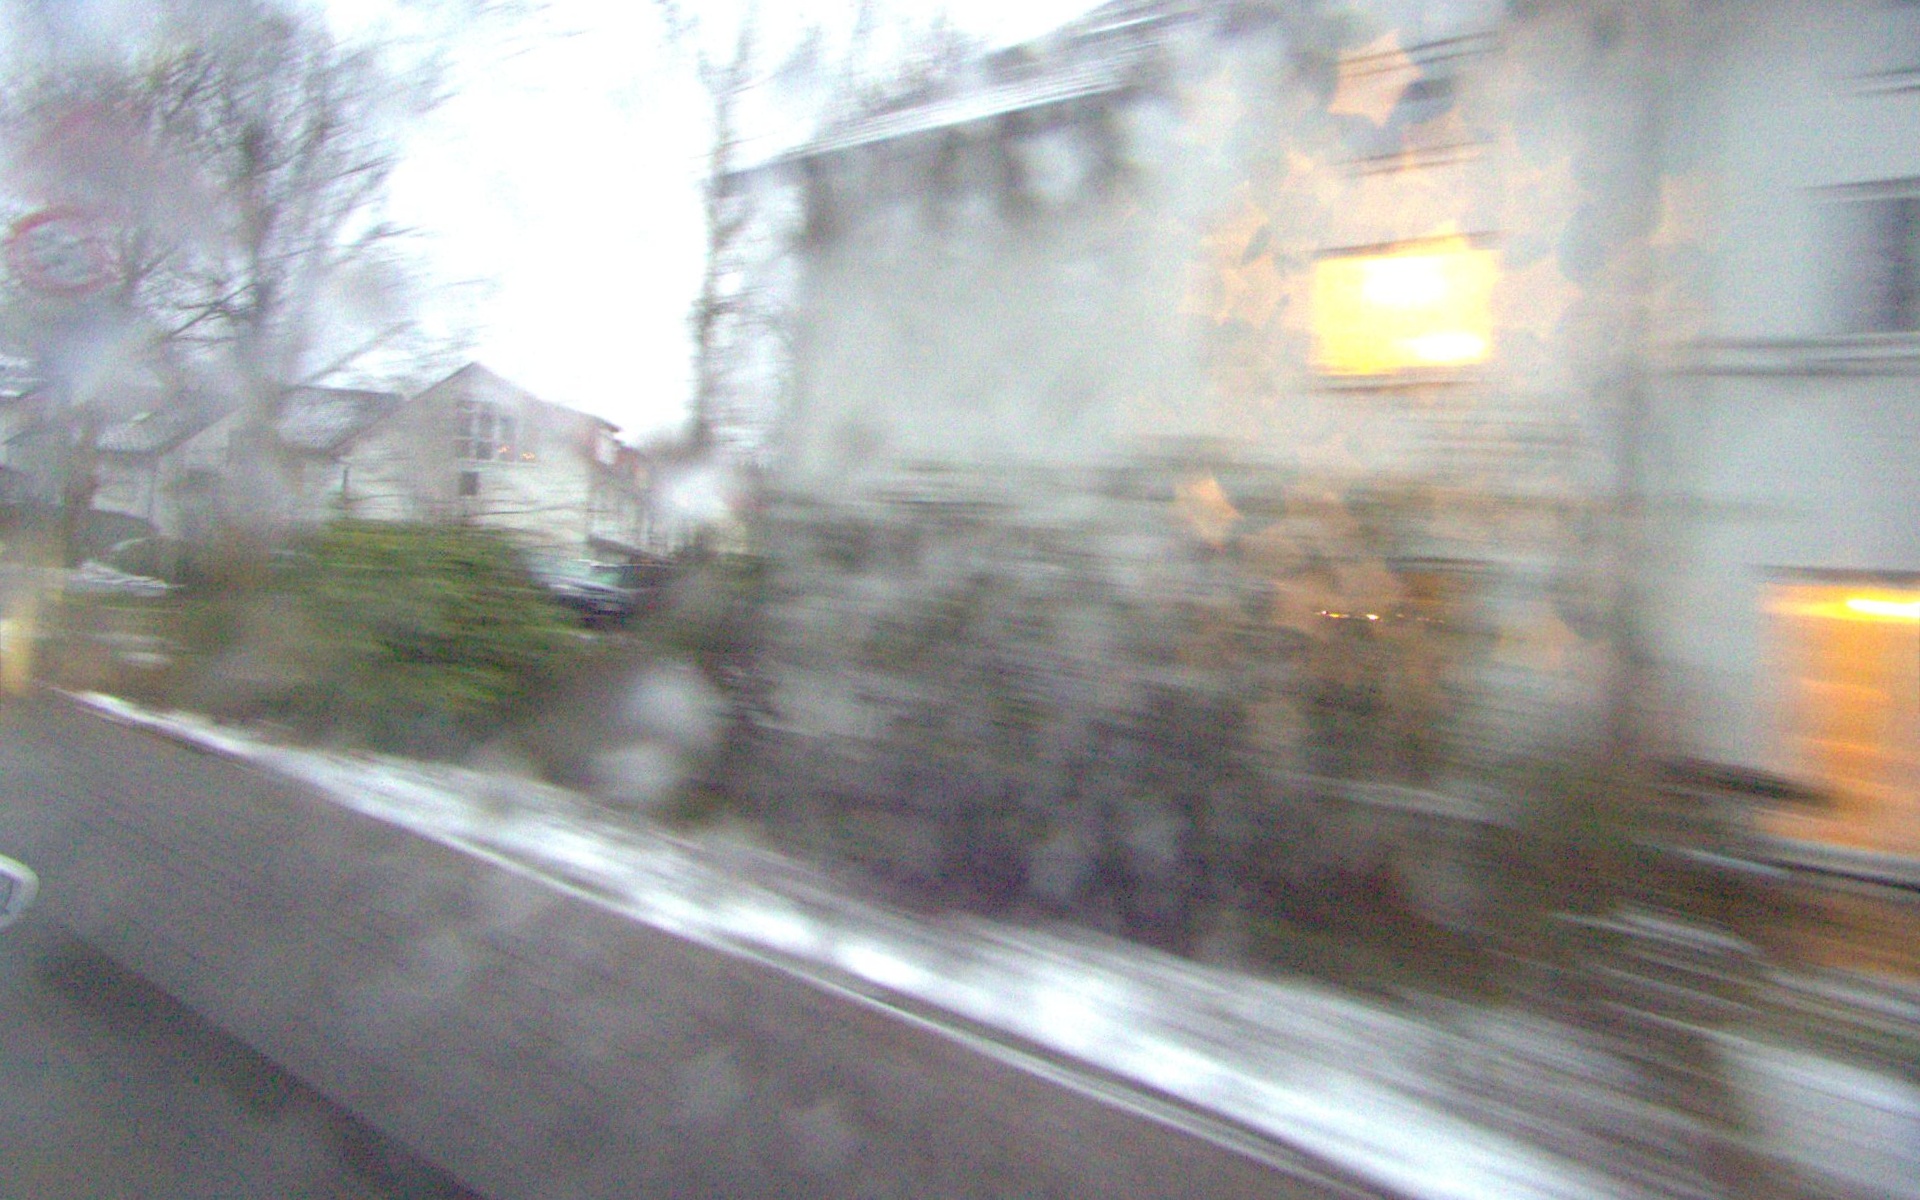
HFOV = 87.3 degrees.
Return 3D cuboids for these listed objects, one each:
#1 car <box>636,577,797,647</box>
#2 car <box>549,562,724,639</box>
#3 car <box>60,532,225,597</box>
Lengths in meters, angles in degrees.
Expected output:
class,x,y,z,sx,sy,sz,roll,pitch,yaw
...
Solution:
class,x,y,z,sx,sy,sz,roll,pitch,yaw
car,-5.933,0.285,24.433,3.679,1.490,1.640,2,-3,32
car,-7.193,0.005,22.295,3.679,1.490,1.640,2,-3,32
car,-27.015,-1.147,33.365,1.773,1.616,3.789,7,-1,29
